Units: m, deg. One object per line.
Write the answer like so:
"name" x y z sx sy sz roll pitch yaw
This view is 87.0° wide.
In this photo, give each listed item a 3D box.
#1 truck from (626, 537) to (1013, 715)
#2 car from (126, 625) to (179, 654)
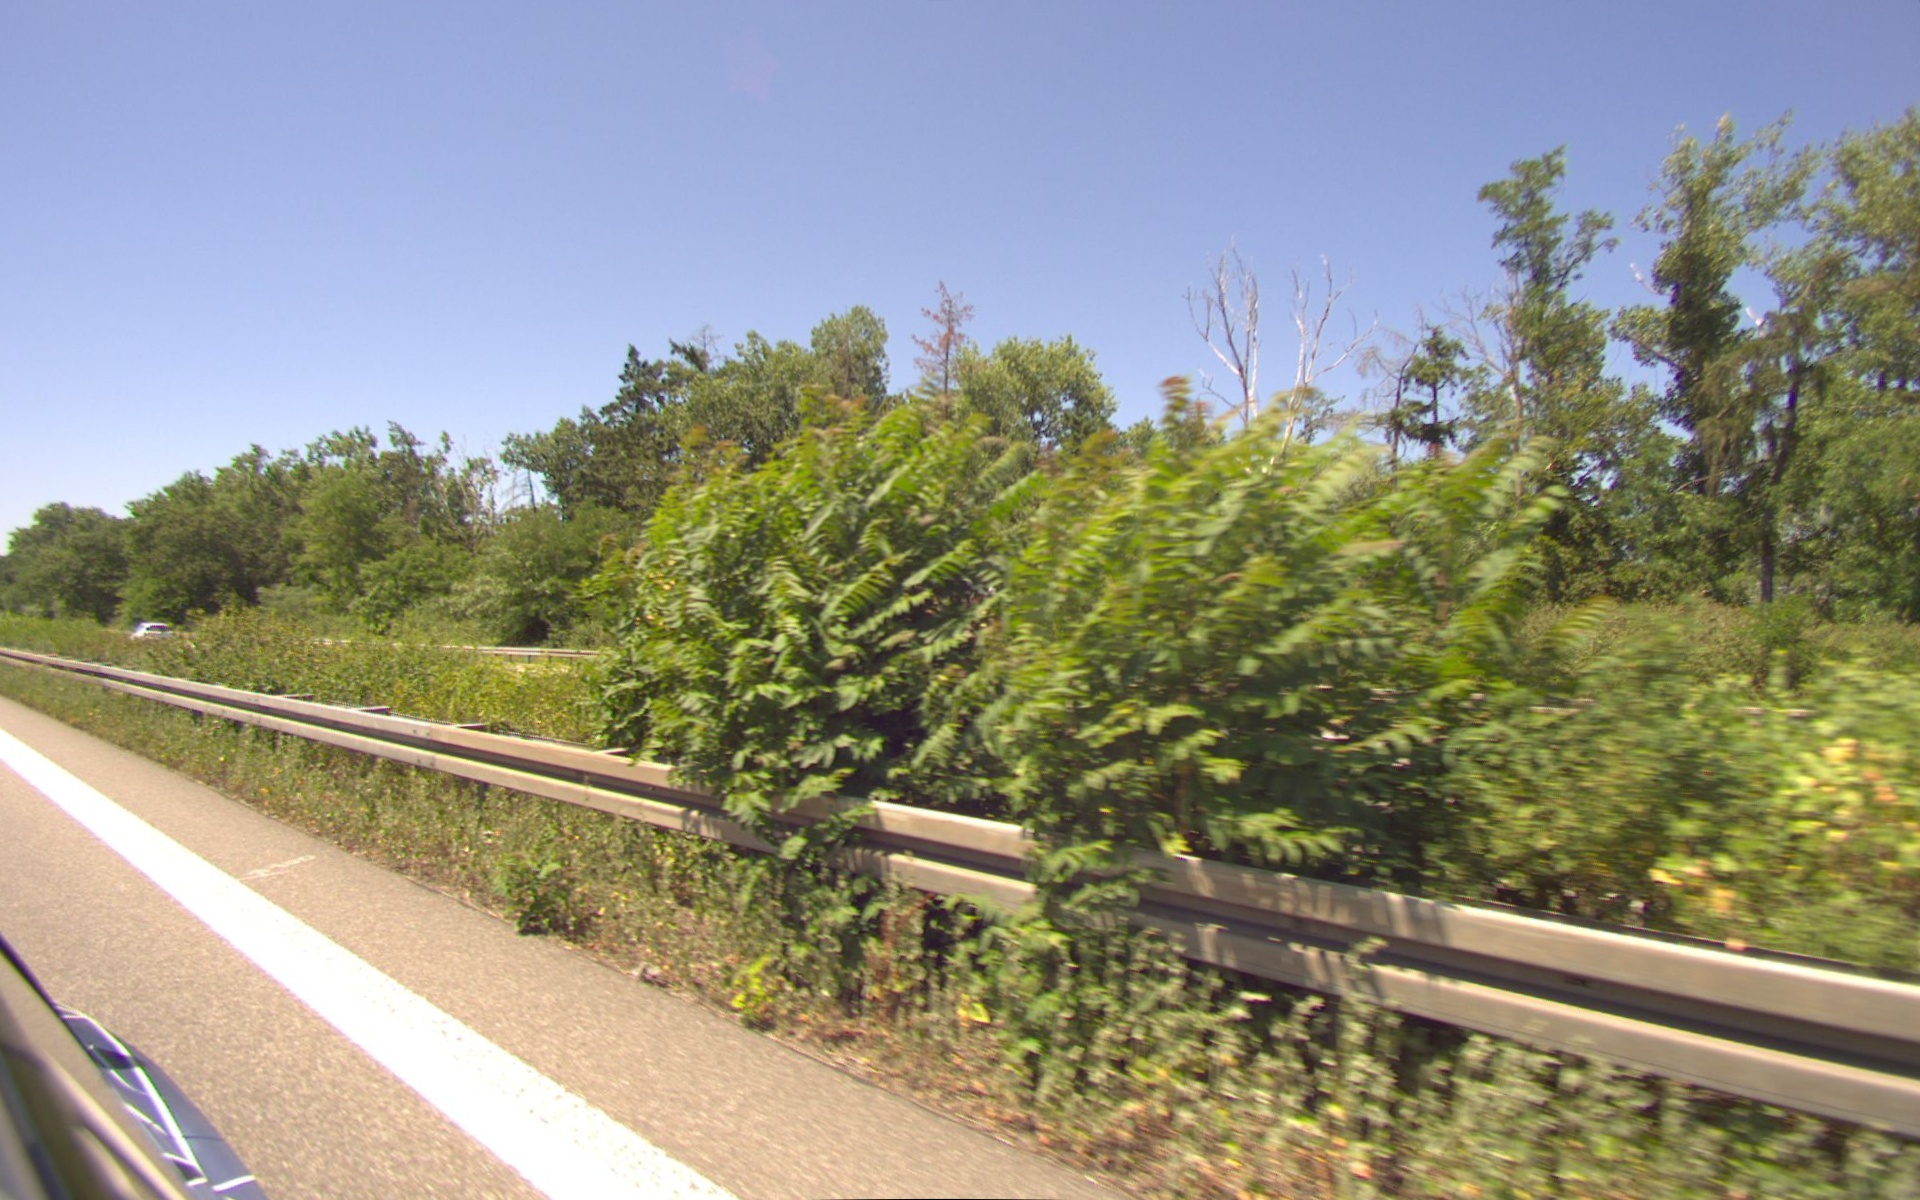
"truck" -4.111 0.653 25.677 11.839 3.662 2.511 -1 -4 41
"car" -46.098 2.244 57.734 3.742 1.494 1.622 -1 -5 41
